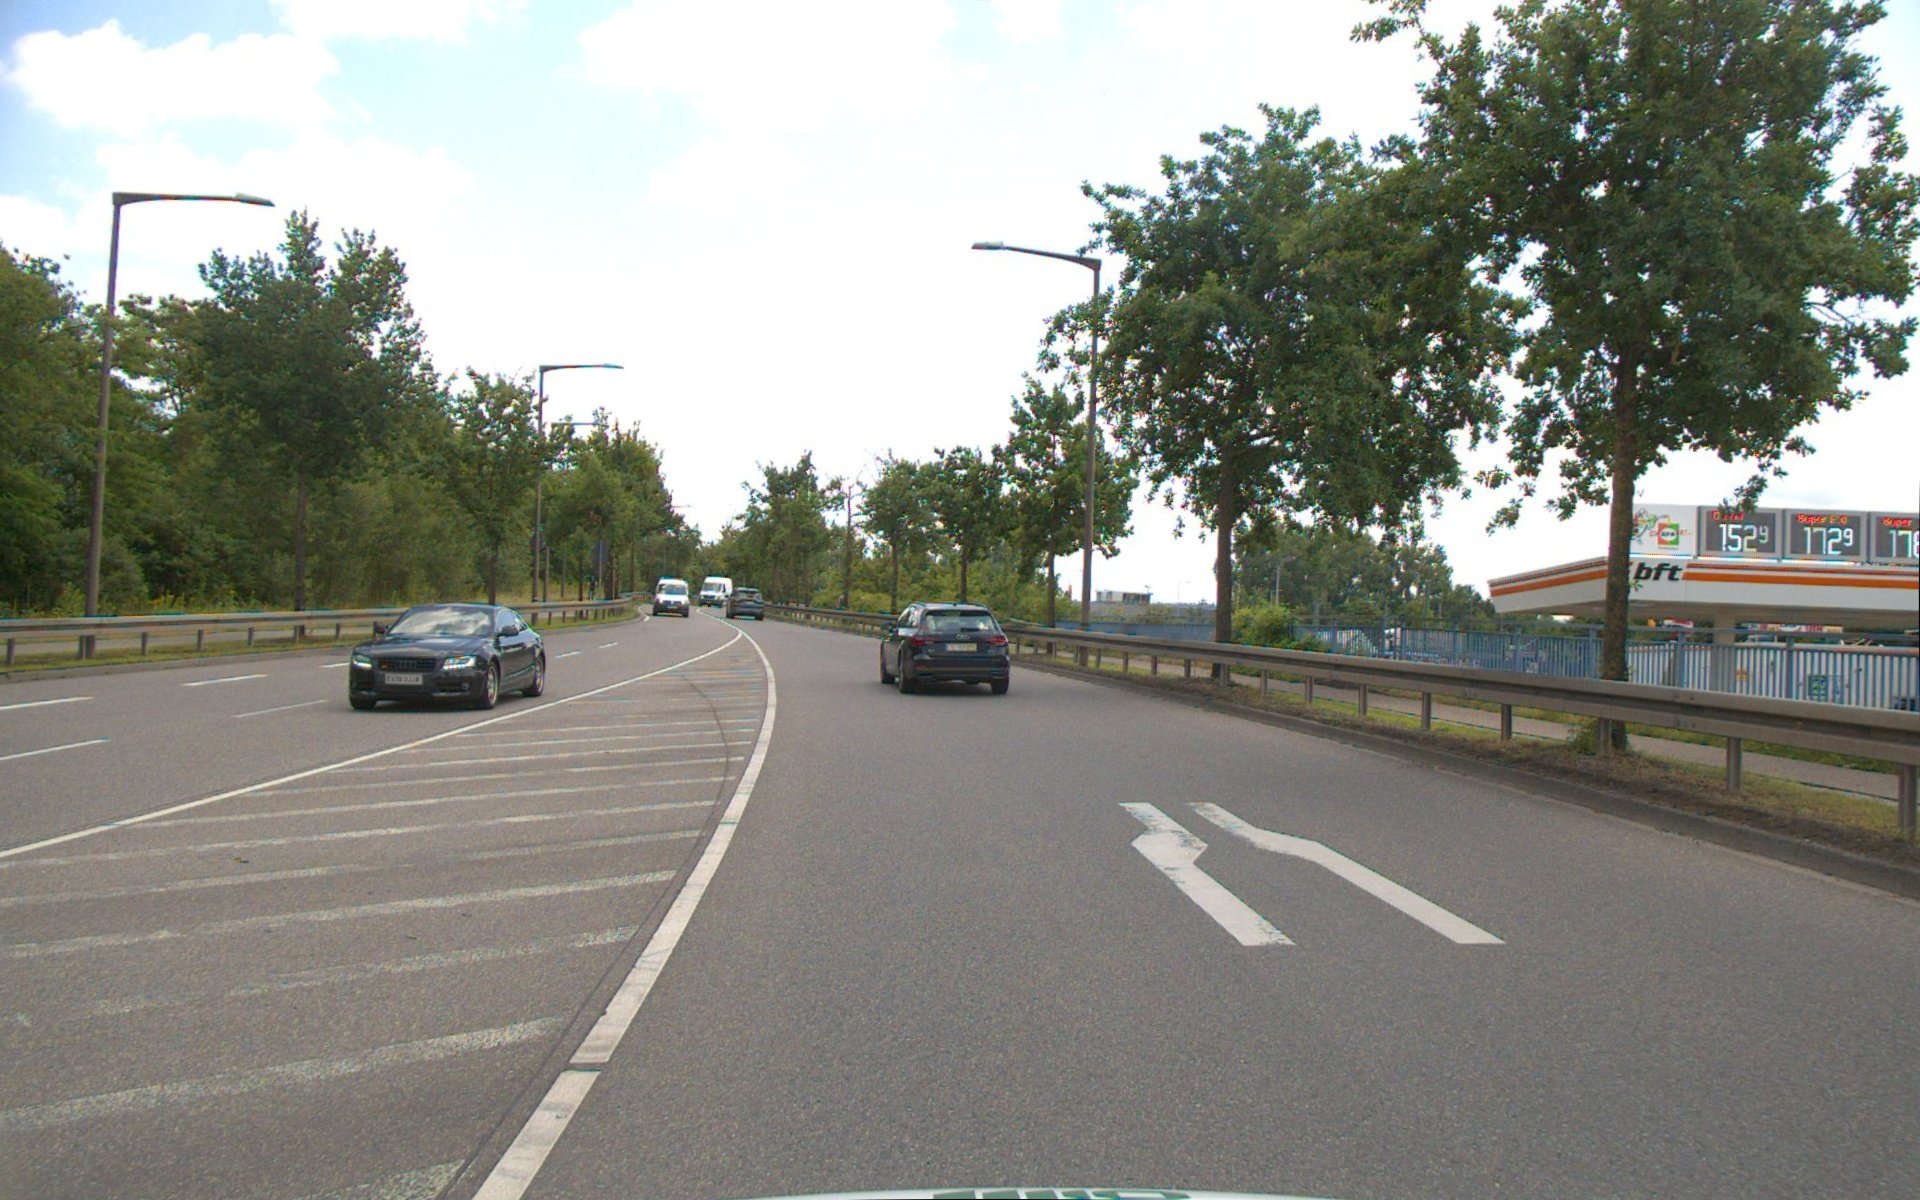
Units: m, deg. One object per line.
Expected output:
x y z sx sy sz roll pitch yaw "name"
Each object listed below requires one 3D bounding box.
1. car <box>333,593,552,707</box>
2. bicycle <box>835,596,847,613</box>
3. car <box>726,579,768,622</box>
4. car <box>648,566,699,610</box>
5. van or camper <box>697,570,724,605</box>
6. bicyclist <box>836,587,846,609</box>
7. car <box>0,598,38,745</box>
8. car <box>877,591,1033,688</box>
-6.973 0.648 22.786 1.866 1.387 4.571 -1 -1 -4 "car"
-6.516 0.270 90.442 0.532 0.881 1.746 4 -2 -7 "bicycle"
-11.419 0.044 88.891 1.954 2.073 4.707 2 -2 -4 "car"
-14.315 -0.621 82.800 1.954 2.048 4.555 2 0 -3 "car"
-21.652 -1.023 143.394 1.958 2.798 5.370 4 -2 -11 "van or camper"
-6.522 -0.119 90.499 0.465 1.189 0.825 1 -1 -8 "bicyclist"
-10.310 0.690 14.304 1.952 1.420 4.700 1 0 1 "car"
-0.186 0.629 27.928 1.956 1.415 4.566 3 -1 -8 "car"
